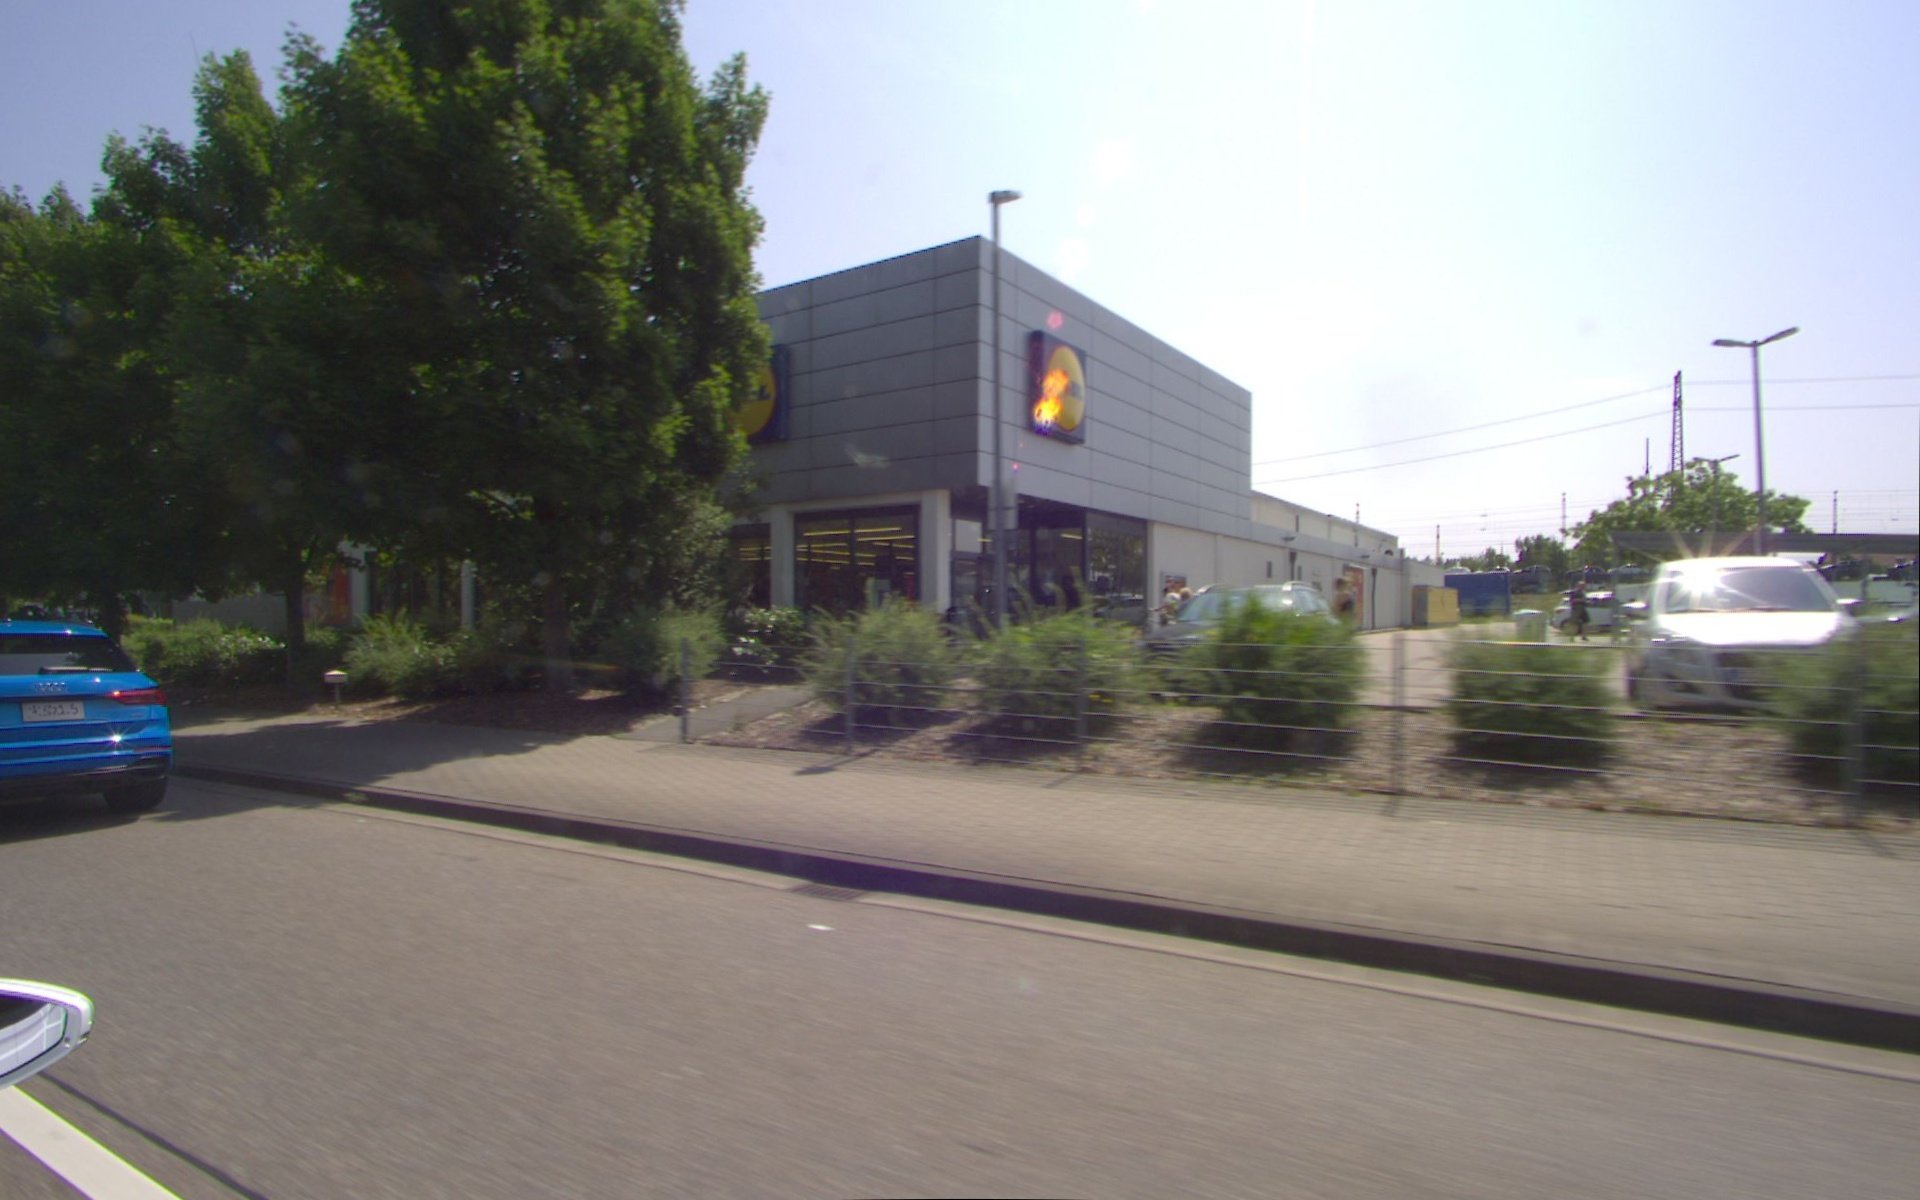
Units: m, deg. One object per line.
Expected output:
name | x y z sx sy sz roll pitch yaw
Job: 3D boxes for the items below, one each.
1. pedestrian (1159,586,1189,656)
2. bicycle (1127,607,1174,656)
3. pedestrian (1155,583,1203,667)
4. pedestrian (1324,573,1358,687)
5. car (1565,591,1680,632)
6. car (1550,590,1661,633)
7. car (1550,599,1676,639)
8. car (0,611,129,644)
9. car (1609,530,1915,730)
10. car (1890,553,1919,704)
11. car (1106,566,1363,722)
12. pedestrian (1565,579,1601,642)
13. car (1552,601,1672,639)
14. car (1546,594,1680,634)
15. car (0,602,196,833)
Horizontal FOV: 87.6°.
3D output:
pedestrian | 4.974 0.482 23.271 0.526 1.595 0.587 0 1 31
bicycle | 4.457 0.724 23.415 0.412 1.103 1.368 0 1 43
pedestrian | 4.282 0.480 19.574 0.759 1.595 0.557 0 1 36
pedestrian | 5.782 0.440 15.191 0.410 1.696 0.446 0 1 29
car | 29.831 0.513 45.207 4.263 1.741 1.749 -1 0 35
car | 27.509 0.476 42.735 3.946 1.741 1.749 -1 0 35
car | 24.864 0.714 38.200 3.946 1.433 1.749 -1 0 35
car | -39.260 1.178 43.518 4.623 1.370 1.953 -1 0 0
car | 7.907 0.340 10.291 1.799 1.616 3.985 0 -3 29
car | 10.113 0.258 8.816 1.799 1.553 3.984 -2 -1 28
car | 3.783 0.443 13.039 1.993 1.617 4.982 -1 0 31
pedestrian | 18.716 0.303 30.081 0.801 1.874 0.573 -1 1 -25
car | 26.011 0.774 40.025 3.946 1.433 1.749 -1 0 35
car | 23.336 0.489 35.875 3.946 1.372 1.749 -1 0 35
car | -8.384 0.854 8.353 4.287 1.613 1.806 -1 -2 32
